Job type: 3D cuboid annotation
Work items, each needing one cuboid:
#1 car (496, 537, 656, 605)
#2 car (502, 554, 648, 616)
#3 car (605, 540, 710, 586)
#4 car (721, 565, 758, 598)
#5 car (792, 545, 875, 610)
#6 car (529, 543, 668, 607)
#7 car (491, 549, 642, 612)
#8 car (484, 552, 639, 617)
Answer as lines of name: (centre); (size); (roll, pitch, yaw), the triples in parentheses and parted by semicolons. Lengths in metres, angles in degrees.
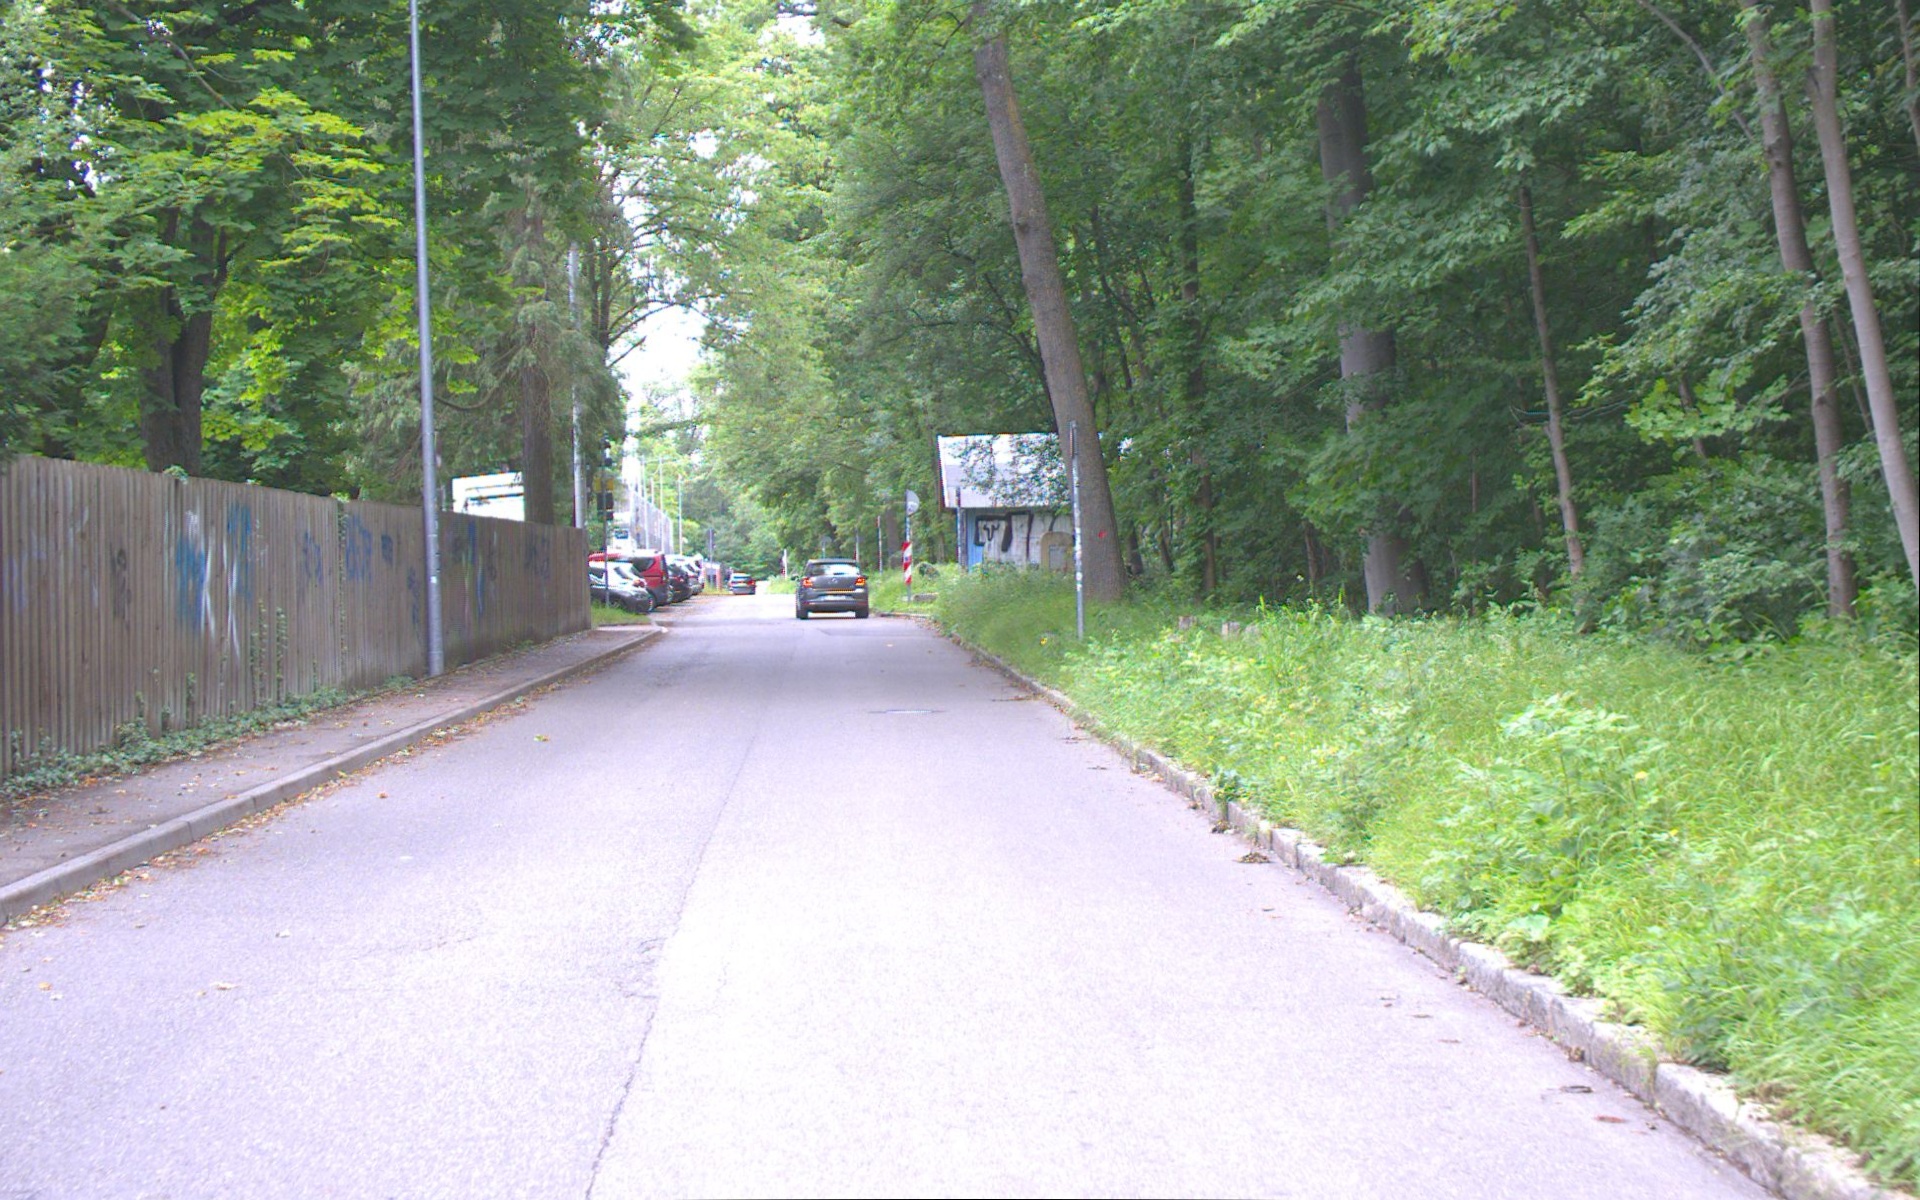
car: (-9.908, -0.760, 88.874); (3.986, 1.568, 2.000); (-3, 1, -6)
car: (-10.820, -0.430, 96.805); (3.986, 1.568, 2.000); (-2, 1, -6)
car: (-12.038, -1.466, 137.023); (3.986, 1.590, 1.765); (-3, 0, -2)
car: (-14.277, -1.209, 222.521); (1.993, 2.007, 4.001); (-2, 1, -8)
car: (-3.038, -0.547, 83.212); (1.908, 1.503, 4.000); (1, 0, -1)
car: (-10.709, -0.752, 101.883); (3.986, 1.744, 2.000); (-2, 1, -6)
car: (-10.704, -0.545, 93.717); (3.986, 1.568, 2.000); (-2, 1, -6)
car: (-10.562, -0.431, 91.185); (3.986, 1.568, 2.000); (-2, 1, -6)
